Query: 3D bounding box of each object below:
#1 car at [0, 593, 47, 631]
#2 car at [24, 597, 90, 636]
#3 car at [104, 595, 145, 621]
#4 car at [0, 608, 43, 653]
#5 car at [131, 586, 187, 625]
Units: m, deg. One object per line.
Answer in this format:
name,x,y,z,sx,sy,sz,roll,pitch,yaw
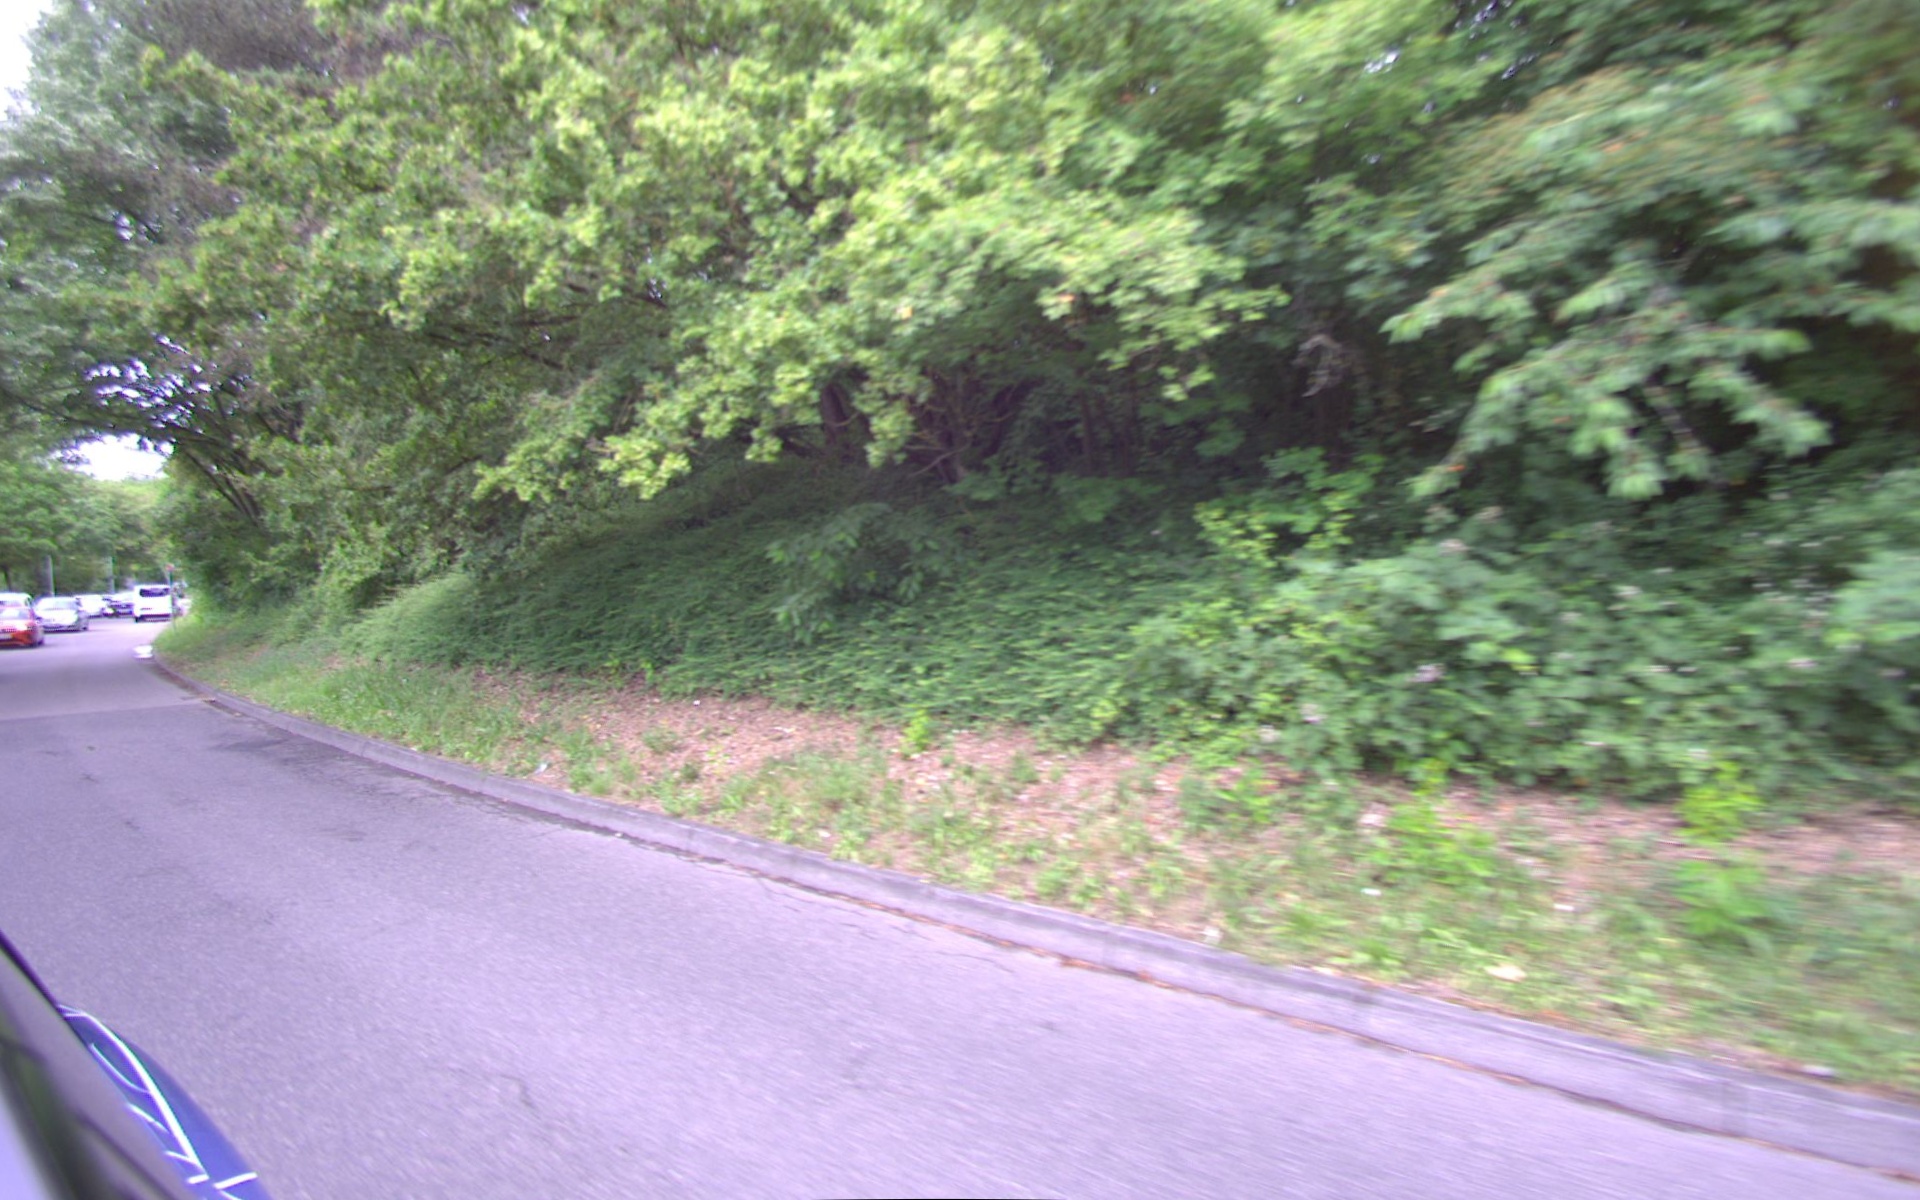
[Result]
car,-46.452,0.607,49.713,1.838,1.739,4.186,-3,1,-36
car,-41.112,0.732,46.148,1.893,1.694,4.009,0,0,-37
car,-53.767,0.483,65.187,1.740,1.528,4.010,-3,2,-36
car,-32.830,1.034,34.489,1.838,1.459,4.186,-3,1,-36
car,-45.199,0.274,57.196,2.116,2.028,4.011,-2,2,-34
